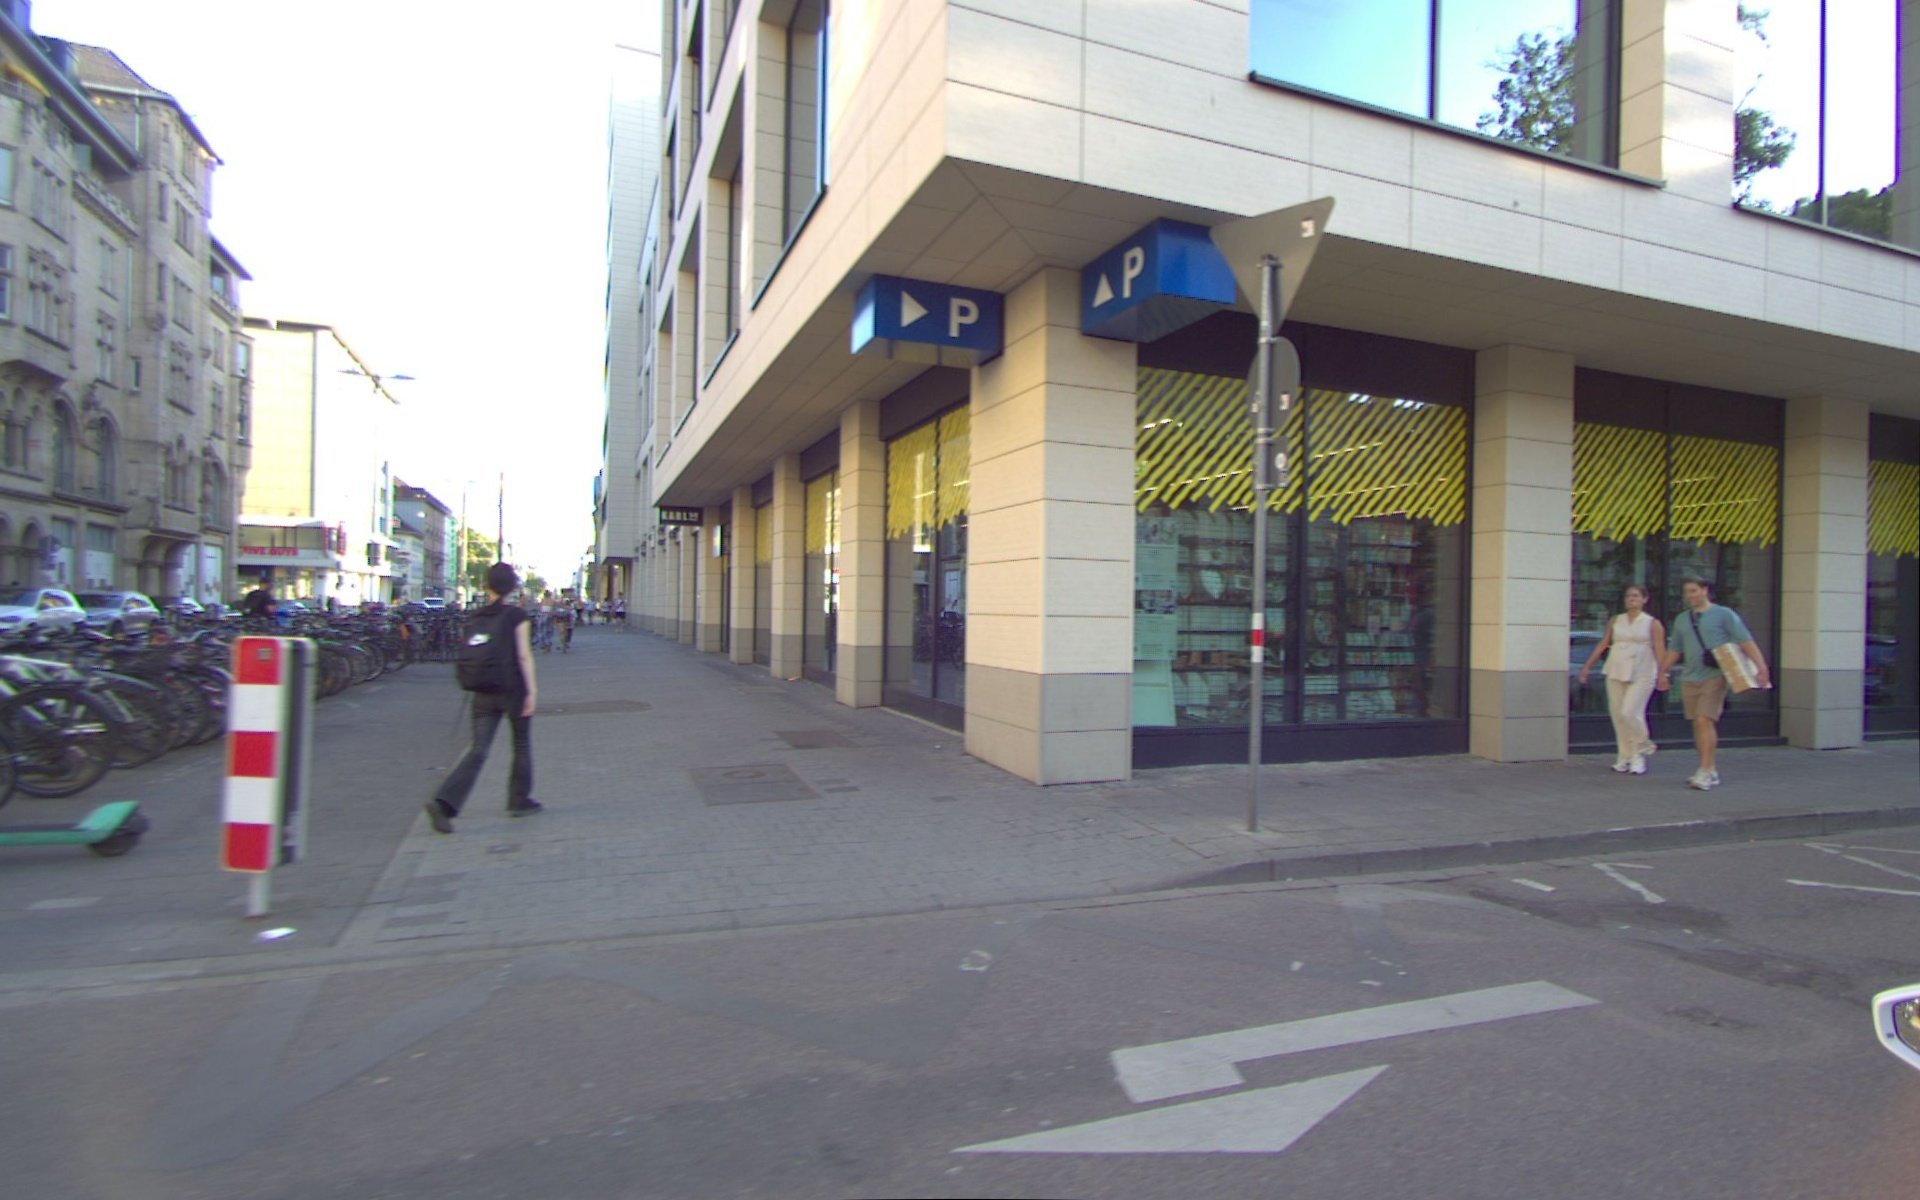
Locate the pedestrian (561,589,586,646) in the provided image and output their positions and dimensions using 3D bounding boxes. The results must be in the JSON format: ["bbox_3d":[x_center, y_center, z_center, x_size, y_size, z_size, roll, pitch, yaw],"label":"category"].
[{"bbox_3d":[-11.783,0.520,30.630,0.674,1.718,0.641,1,0,-23],"label":"pedestrian"}]

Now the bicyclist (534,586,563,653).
[{"bbox_3d":[-10.841,0.509,26.482,0.674,1.718,0.641,1,0,-21],"label":"bicyclist"}]

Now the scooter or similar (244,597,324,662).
[{"bbox_3d":[-13.585,0.595,20.224,1.253,1.259,0.385,2,0,-24],"label":"scooter or similar"}]

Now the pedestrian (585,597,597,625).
[{"bbox_3d":[-22.650,0.680,61.690,0.674,1.683,0.641,1,0,-23],"label":"pedestrian"}]

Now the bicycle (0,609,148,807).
[{"bbox_3d":[-6.644,0.692,6.589,1.951,1.271,0.510,2,0,-24],"label":"bicycle"}]

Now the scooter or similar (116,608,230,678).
[{"bbox_3d":[-11.729,0.645,14.998,1.253,1.005,0.385,2,0,-24],"label":"scooter or similar"}]

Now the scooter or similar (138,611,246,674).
[{"bbox_3d":[-11.932,0.666,15.644,1.253,0.954,0.385,2,0,-24],"label":"scooter or similar"}]

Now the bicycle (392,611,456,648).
[{"bbox_3d":[-18.887,1.040,35.430,1.956,1.271,0.509,2,0,-31],"label":"bicycle"}]

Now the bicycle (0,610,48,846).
[{"bbox_3d":[-6.191,0.673,5.289,1.952,1.271,0.510,2,0,-26],"label":"bicycle"}]

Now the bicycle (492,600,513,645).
[{"bbox_3d":[-13.338,0.646,29.314,0.506,1.271,1.967,2,0,-24],"label":"bicycle"}]

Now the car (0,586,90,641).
[{"bbox_3d":[-26.084,0.344,27.730,1.838,1.409,4.595,1,-1,-24],"label":"car"}]

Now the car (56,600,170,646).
[{"bbox_3d":[-27.946,0.732,33.295,1.838,1.409,3.976,1,-1,-24],"label":"car"}]

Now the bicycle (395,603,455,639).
[{"bbox_3d":[-20.040,0.794,37.656,1.956,1.271,0.509,2,0,-31],"label":"bicycle"}]

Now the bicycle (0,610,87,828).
[{"bbox_3d":[-6.444,0.681,5.856,1.950,1.271,0.511,2,0,-22],"label":"bicycle"}]

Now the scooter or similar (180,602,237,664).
[{"bbox_3d":[-14.969,0.639,20.037,0.508,1.196,1.265,2,0,-18],"label":"scooter or similar"}]

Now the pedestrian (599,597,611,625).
[{"bbox_3d":[-21.943,0.686,62.117,0.674,1.718,0.641,1,0,-23],"label":"pedestrian"}]

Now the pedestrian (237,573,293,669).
[{"bbox_3d":[-12.689,0.379,18.352,0.674,1.718,0.641,1,0,-19],"label":"pedestrian"}]

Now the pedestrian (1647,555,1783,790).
[{"bbox_3d":[6.321,0.582,8.422,0.638,1.861,0.670,1,0,-24],"label":"pedestrian"}]

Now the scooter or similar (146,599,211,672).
[{"bbox_3d":[-14.136,0.626,18.198,0.508,1.259,1.265,2,0,-18],"label":"scooter or similar"}]

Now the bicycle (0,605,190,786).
[{"bbox_3d":[-6.910,0.680,7.327,1.952,1.271,0.510,2,0,-25],"label":"bicycle"}]

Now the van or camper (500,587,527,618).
[{"bbox_3d":[-49.433,0.296,111.339,1.967,3.317,5.146,1,0,-16],"label":"van or camper"}]

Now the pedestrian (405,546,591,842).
[{"bbox_3d":[-2.816,0.536,6.195,0.606,1.680,0.872,1,0,12],"label":"pedestrian"}]

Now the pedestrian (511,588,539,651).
[{"bbox_3d":[-12.031,0.535,27.771,0.674,1.718,0.641,1,0,-23],"label":"pedestrian"}]

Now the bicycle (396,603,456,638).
[{"bbox_3d":[-20.328,0.792,38.238,1.956,1.271,0.509,2,0,-31],"label":"bicycle"}]

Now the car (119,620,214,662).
[{"bbox_3d":[-29.615,1.491,37.626,1.838,1.409,3.976,1,-1,-24],"label":"car"}]

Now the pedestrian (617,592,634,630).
[{"bbox_3d":[-15.425,0.494,46.370,0.674,1.718,0.641,1,0,-23],"label":"pedestrian"}]

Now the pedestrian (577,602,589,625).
[{"bbox_3d":[-24.017,0.877,63.910,0.674,1.444,0.641,1,0,-23],"label":"pedestrian"}]

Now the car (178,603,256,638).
[{"bbox_3d":[-31.705,0.864,42.955,1.838,1.409,3.976,1,-1,-24],"label":"car"}]

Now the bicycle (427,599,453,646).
[{"bbox_3d":[-14.856,0.625,28.734,0.506,1.271,1.967,2,0,-24],"label":"bicycle"}]

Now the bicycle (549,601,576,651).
[{"bbox_3d":[-10.518,0.661,26.553,0.603,1.271,1.968,2,0,-22],"label":"bicycle"}]

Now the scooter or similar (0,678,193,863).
[{"bbox_3d":[-4.618,0.880,5.344,0.759,0.896,0.385,2,0,-23],"label":"scooter or similar"}]

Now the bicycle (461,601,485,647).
[{"bbox_3d":[-14.034,0.683,28.962,0.506,1.271,1.967,2,0,-24],"label":"bicycle"}]

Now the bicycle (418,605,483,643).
[{"bbox_3d":[-17.628,0.837,34.803,1.951,1.271,0.510,2,0,-24],"label":"bicycle"}]

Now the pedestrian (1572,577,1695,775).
[{"bbox_3d":[6.051,0.653,9.043,0.638,1.697,0.670,1,0,-24],"label":"pedestrian"}]
